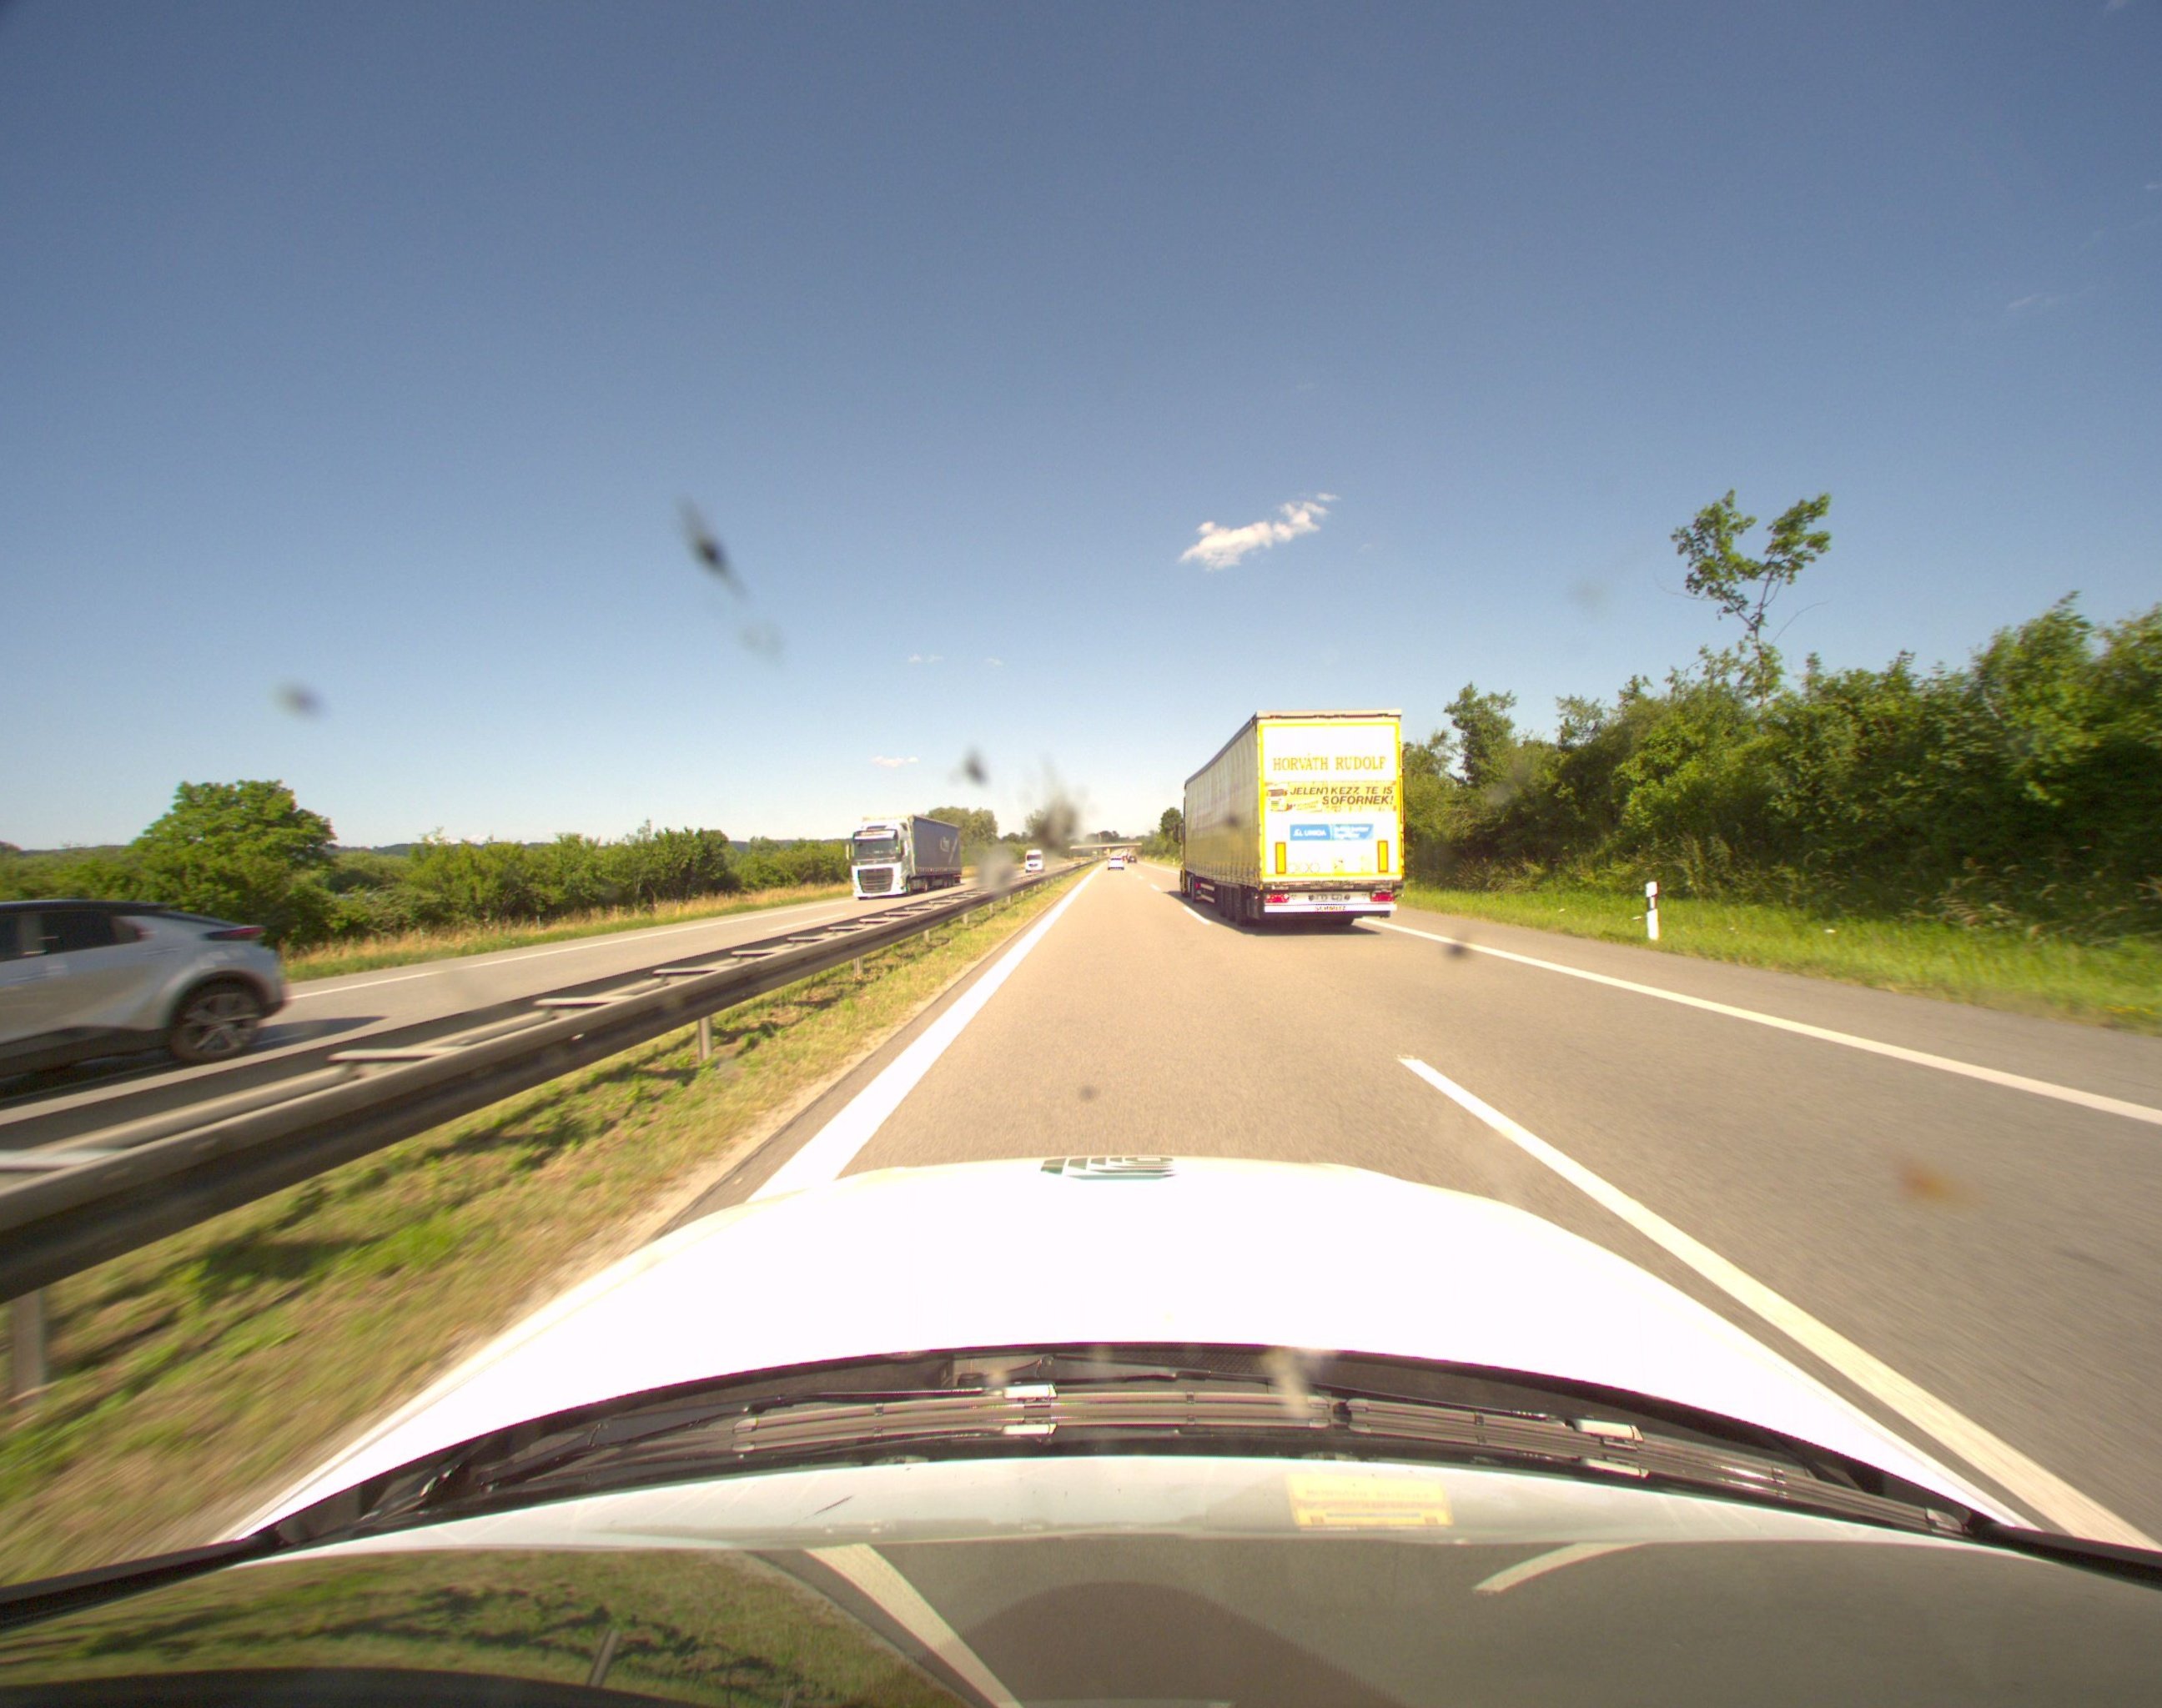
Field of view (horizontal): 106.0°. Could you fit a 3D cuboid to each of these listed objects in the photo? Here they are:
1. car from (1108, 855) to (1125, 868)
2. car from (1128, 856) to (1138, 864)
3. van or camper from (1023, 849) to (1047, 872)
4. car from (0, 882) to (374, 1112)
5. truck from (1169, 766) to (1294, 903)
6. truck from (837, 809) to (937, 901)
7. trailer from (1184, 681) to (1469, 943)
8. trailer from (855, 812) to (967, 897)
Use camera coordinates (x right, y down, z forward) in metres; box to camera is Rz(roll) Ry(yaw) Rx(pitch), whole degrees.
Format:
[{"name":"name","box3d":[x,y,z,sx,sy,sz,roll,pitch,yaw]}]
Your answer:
[{"name":"car","box3d":[3.856,0.793,88.271,1.835,1.415,4.002,0,0,2]},{"name":"car","box3d":[10.264,1.123,160.719,1.835,1.520,4.002,0,0,2]},{"name":"van or camper","box3d":[-5.333,0.732,95.752,1.986,2.497,7.231,-4,0,2]},{"name":"car","box3d":[-8.677,1.149,6.468,1.719,1.582,4.770,-5,-1,2]},{"name":"truck","box3d":[4.865,-0.571,27.685,3.158,4.114,6.389,0,0,1]},{"name":"truck","box3d":[-9.655,0.046,41.343,3.158,4.114,6.389,-4,0,1]},{"name":"trailer","box3d":[4.638,-0.621,19.247,3.172,4.059,13.192,0,0,2]},{"name":"trailer","box3d":[-9.590,0.083,48.332,3.174,4.059,14.598,-4,0,1]}]
